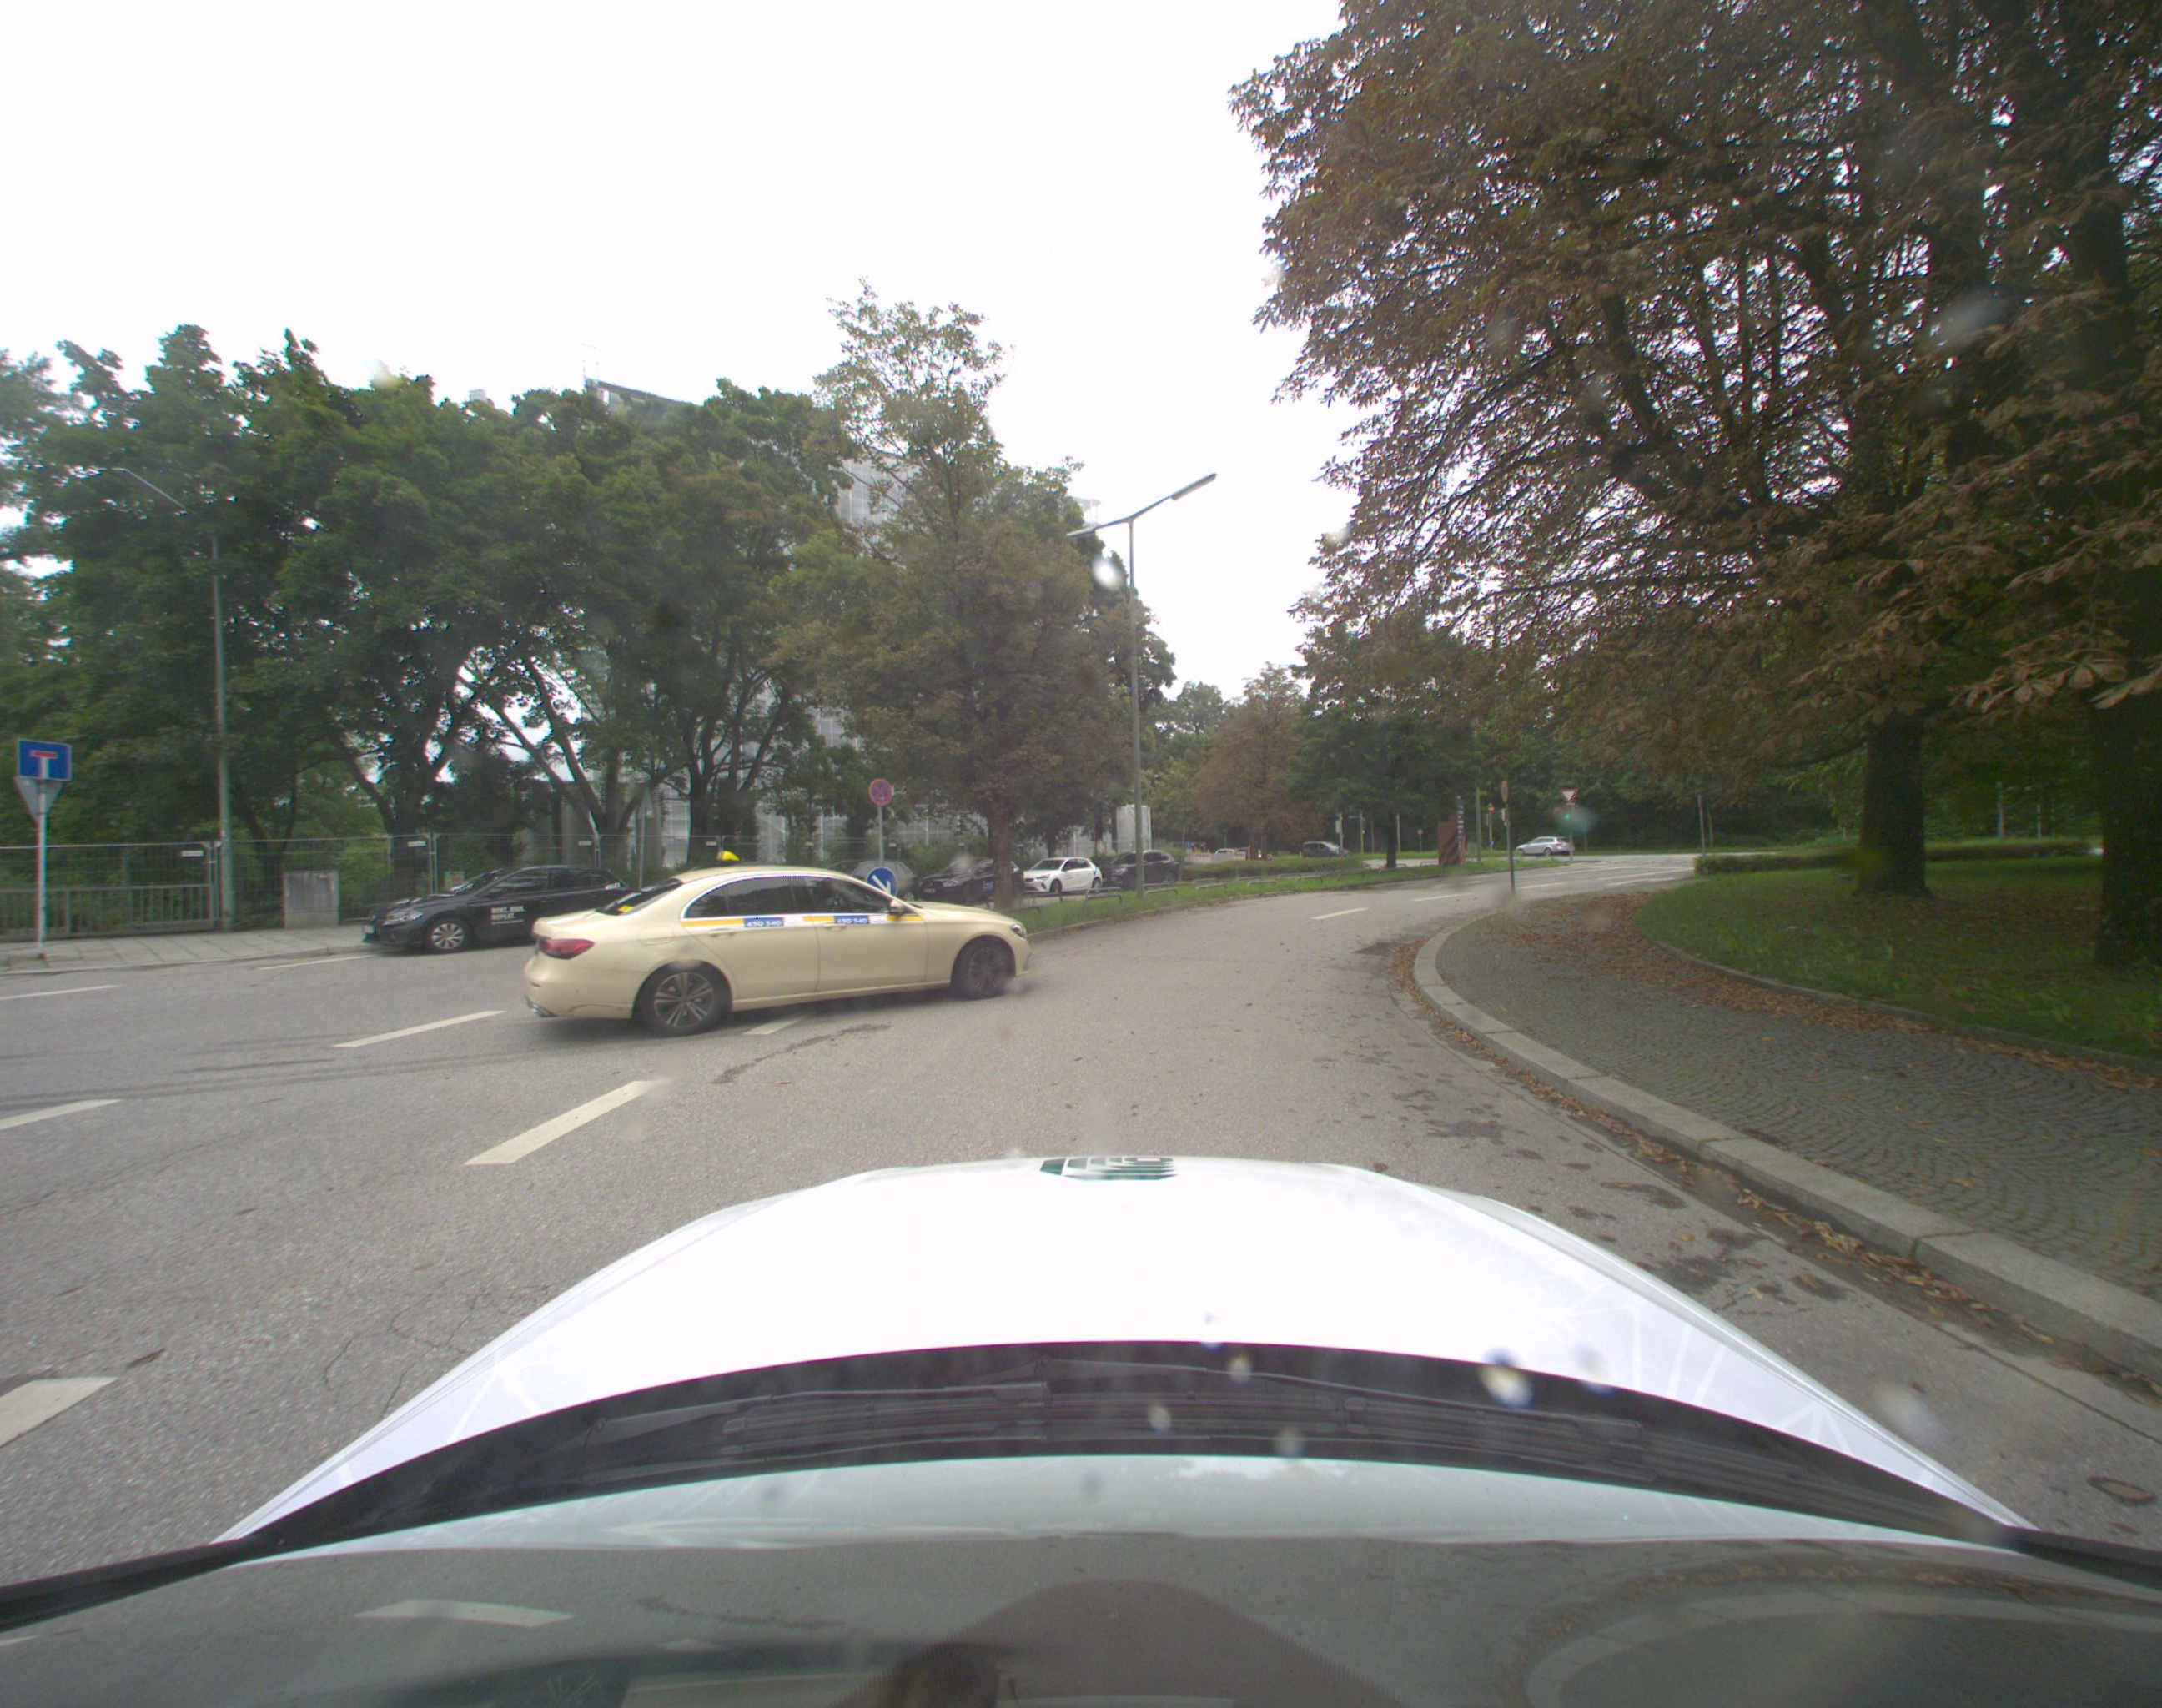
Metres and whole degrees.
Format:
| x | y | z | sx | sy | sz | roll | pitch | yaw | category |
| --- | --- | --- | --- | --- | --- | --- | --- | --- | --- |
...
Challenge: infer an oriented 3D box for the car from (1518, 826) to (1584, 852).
| x | y | z | sx | sy | sz | roll | pitch | yaw | category |
| --- | --- | --- | --- | --- | --- | --- | --- | --- | --- |
| 34.411 | -1.044 | 59.730 | 1.995 | 1.750 | 4.109 | -2 | 0 | -11 | car |

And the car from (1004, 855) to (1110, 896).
| x | y | z | sx | sy | sz | roll | pitch | yaw | category |
| --- | --- | --- | --- | --- | --- | --- | --- | --- | --- |
| -0.823 | 0.767 | 30.809 | 1.778 | 1.383 | 4.245 | -2 | -1 | 35 | car |

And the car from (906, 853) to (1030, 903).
| x | y | z | sx | sy | sz | roll | pitch | yaw | category |
| --- | --- | --- | --- | --- | --- | --- | --- | --- | --- |
| -3.592 | 0.740 | 26.660 | 1.816 | 1.461 | 4.031 | -2 | -1 | 32 | car |

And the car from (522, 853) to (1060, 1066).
| x | y | z | sx | sy | sz | roll | pitch | yaw | category |
| --- | --- | --- | --- | --- | --- | --- | --- | --- | --- |
| -2.780 | 0.822 | 8.410 | 4.872 | 1.545 | 1.874 | -1 | 0 | -34 | car |

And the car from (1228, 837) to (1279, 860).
| x | y | z | sx | sy | sz | roll | pitch | yaw | category |
| --- | --- | --- | --- | --- | --- | --- | --- | --- | --- |
| 15.423 | -0.484 | 73.030 | 2.010 | 2.013 | 4.109 | -1 | 0 | -39 | car |

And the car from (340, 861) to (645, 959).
| x | y | z | sx | sy | sz | roll | pitch | yaw | category |
| --- | --- | --- | --- | --- | --- | --- | --- | --- | --- |
| -10.529 | 0.886 | 14.879 | 1.974 | 1.432 | 4.068 | 0 | 1 | 32 | car |

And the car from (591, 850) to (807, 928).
| x | y | z | sx | sy | sz | roll | pitch | yaw | category |
| --- | --- | --- | --- | --- | --- | --- | --- | --- | --- |
| -8.599 | 0.721 | 18.660 | 1.974 | 1.541 | 4.025 | -2 | 0 | 32 | car |

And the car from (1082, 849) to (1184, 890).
| x | y | z | sx | sy | sz | roll | pitch | yaw | category |
| --- | --- | --- | --- | --- | --- | --- | --- | --- | --- |
| 2.253 | 0.676 | 34.296 | 1.868 | 1.606 | 4.422 | -2 | -2 | 43 | car |

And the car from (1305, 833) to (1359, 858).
| x | y | z | sx | sy | sz | roll | pitch | yaw | category |
| --- | --- | --- | --- | --- | --- | --- | --- | --- | --- |
| 21.425 | -0.694 | 69.683 | 2.010 | 2.013 | 3.954 | -1 | 0 | -39 | car |

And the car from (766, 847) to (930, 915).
| x | y | z | sx | sy | sz | roll | pitch | yaw | category |
| --- | --- | --- | --- | --- | --- | --- | --- | --- | --- |
| -6.320 | 0.687 | 22.495 | 1.974 | 1.706 | 4.025 | -2 | -1 | 32 | car |
